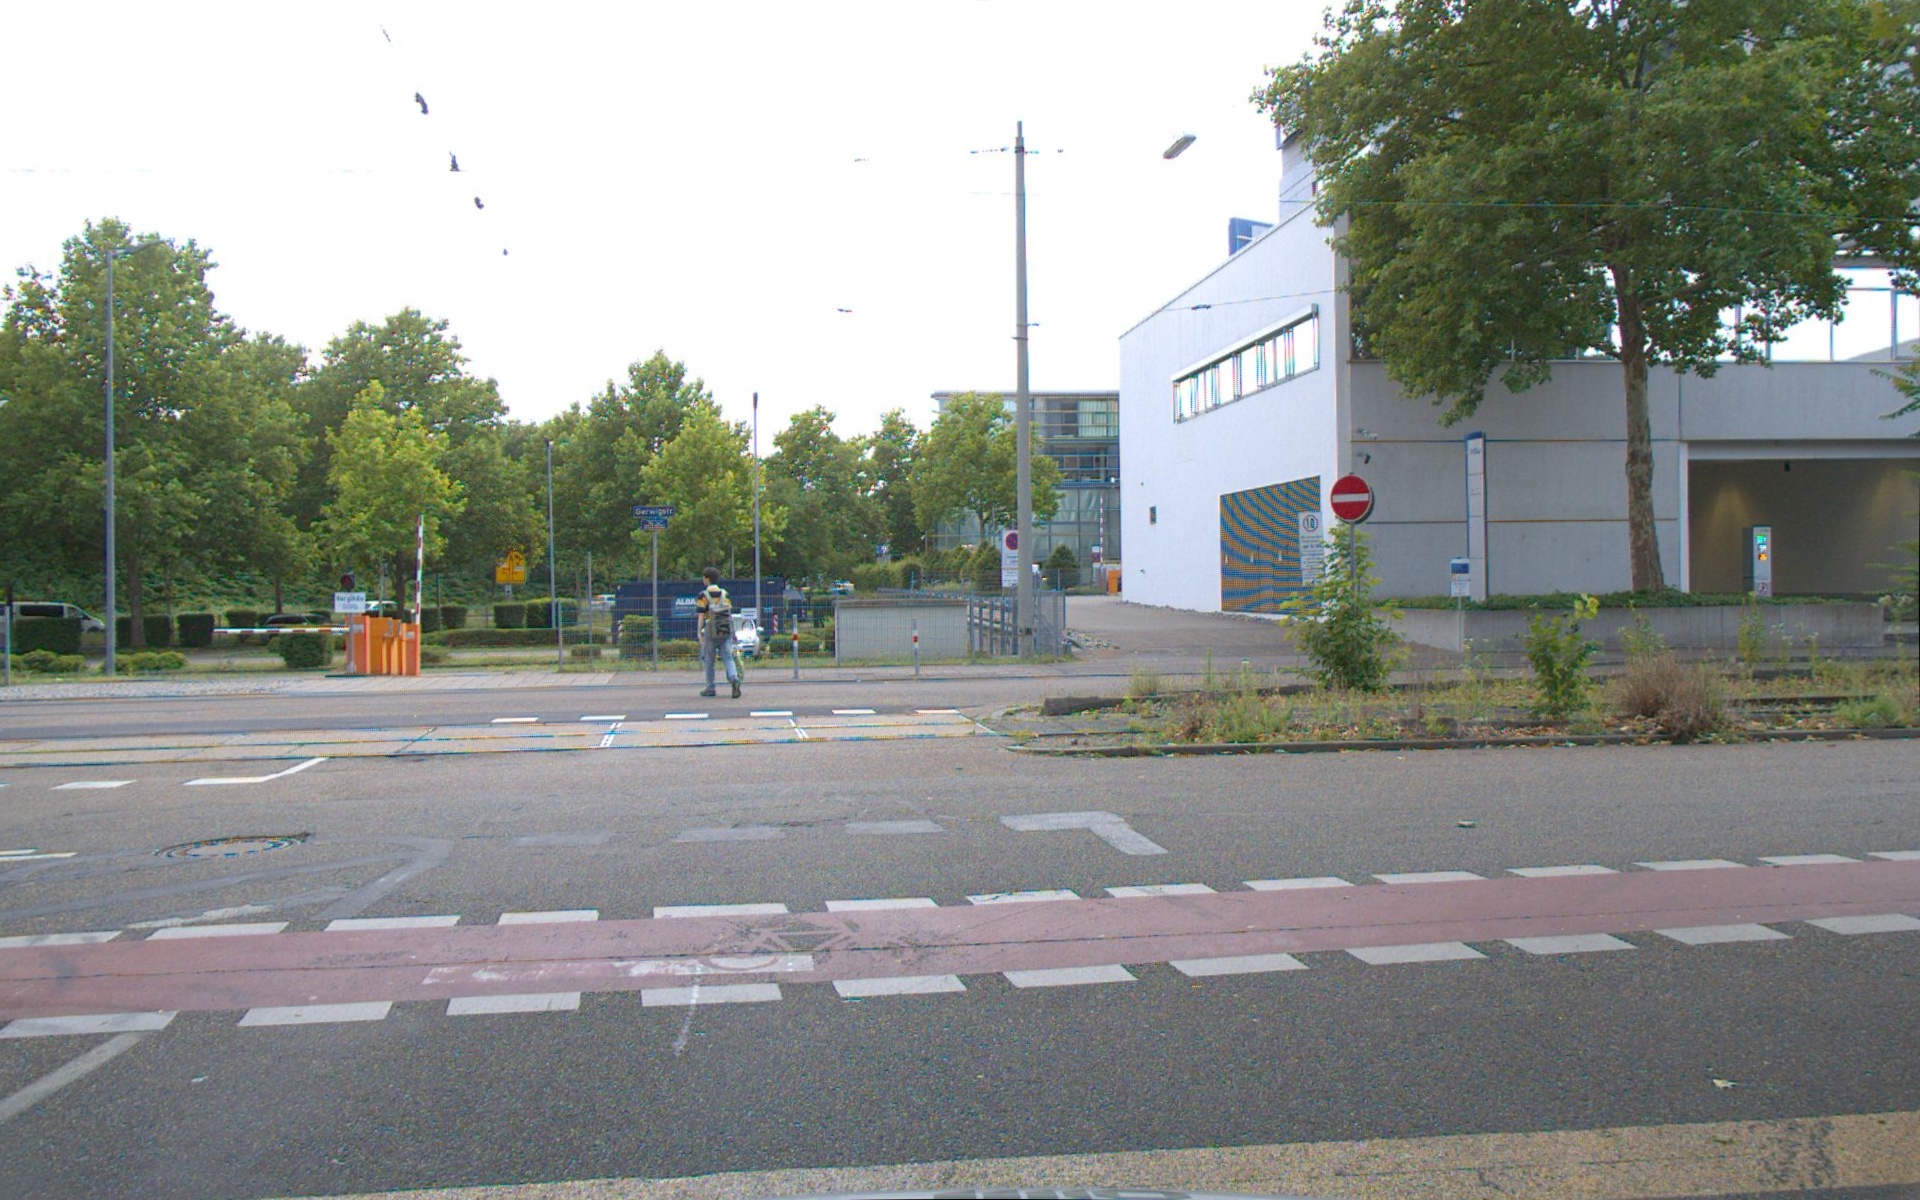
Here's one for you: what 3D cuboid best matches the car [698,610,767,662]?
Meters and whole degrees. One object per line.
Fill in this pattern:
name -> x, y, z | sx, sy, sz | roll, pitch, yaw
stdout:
car -> -6.887, 1.063, 50.331 | 1.894, 1.427, 4.076 | -1, 0, -6

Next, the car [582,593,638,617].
car -> -26.406, 0.350, 124.870 | 1.876, 1.751, 4.297 | -1, 1, 25

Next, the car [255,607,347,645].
car -> -31.499, 1.231, 79.078 | 3.907, 1.731, 1.909 | -1, 0, 25

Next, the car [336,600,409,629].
car -> -37.305, 0.934, 105.171 | 1.876, 1.751, 4.297 | -1, 1, 25

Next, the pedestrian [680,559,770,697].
pedestrian -> -3.340, 0.372, 23.428 | 0.987, 1.881, 1.221 | -1, 0, -23

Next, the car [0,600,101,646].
car -> -45.251, 1.124, 81.985 | 1.818, 2.173, 4.567 | -1, 0, 24
